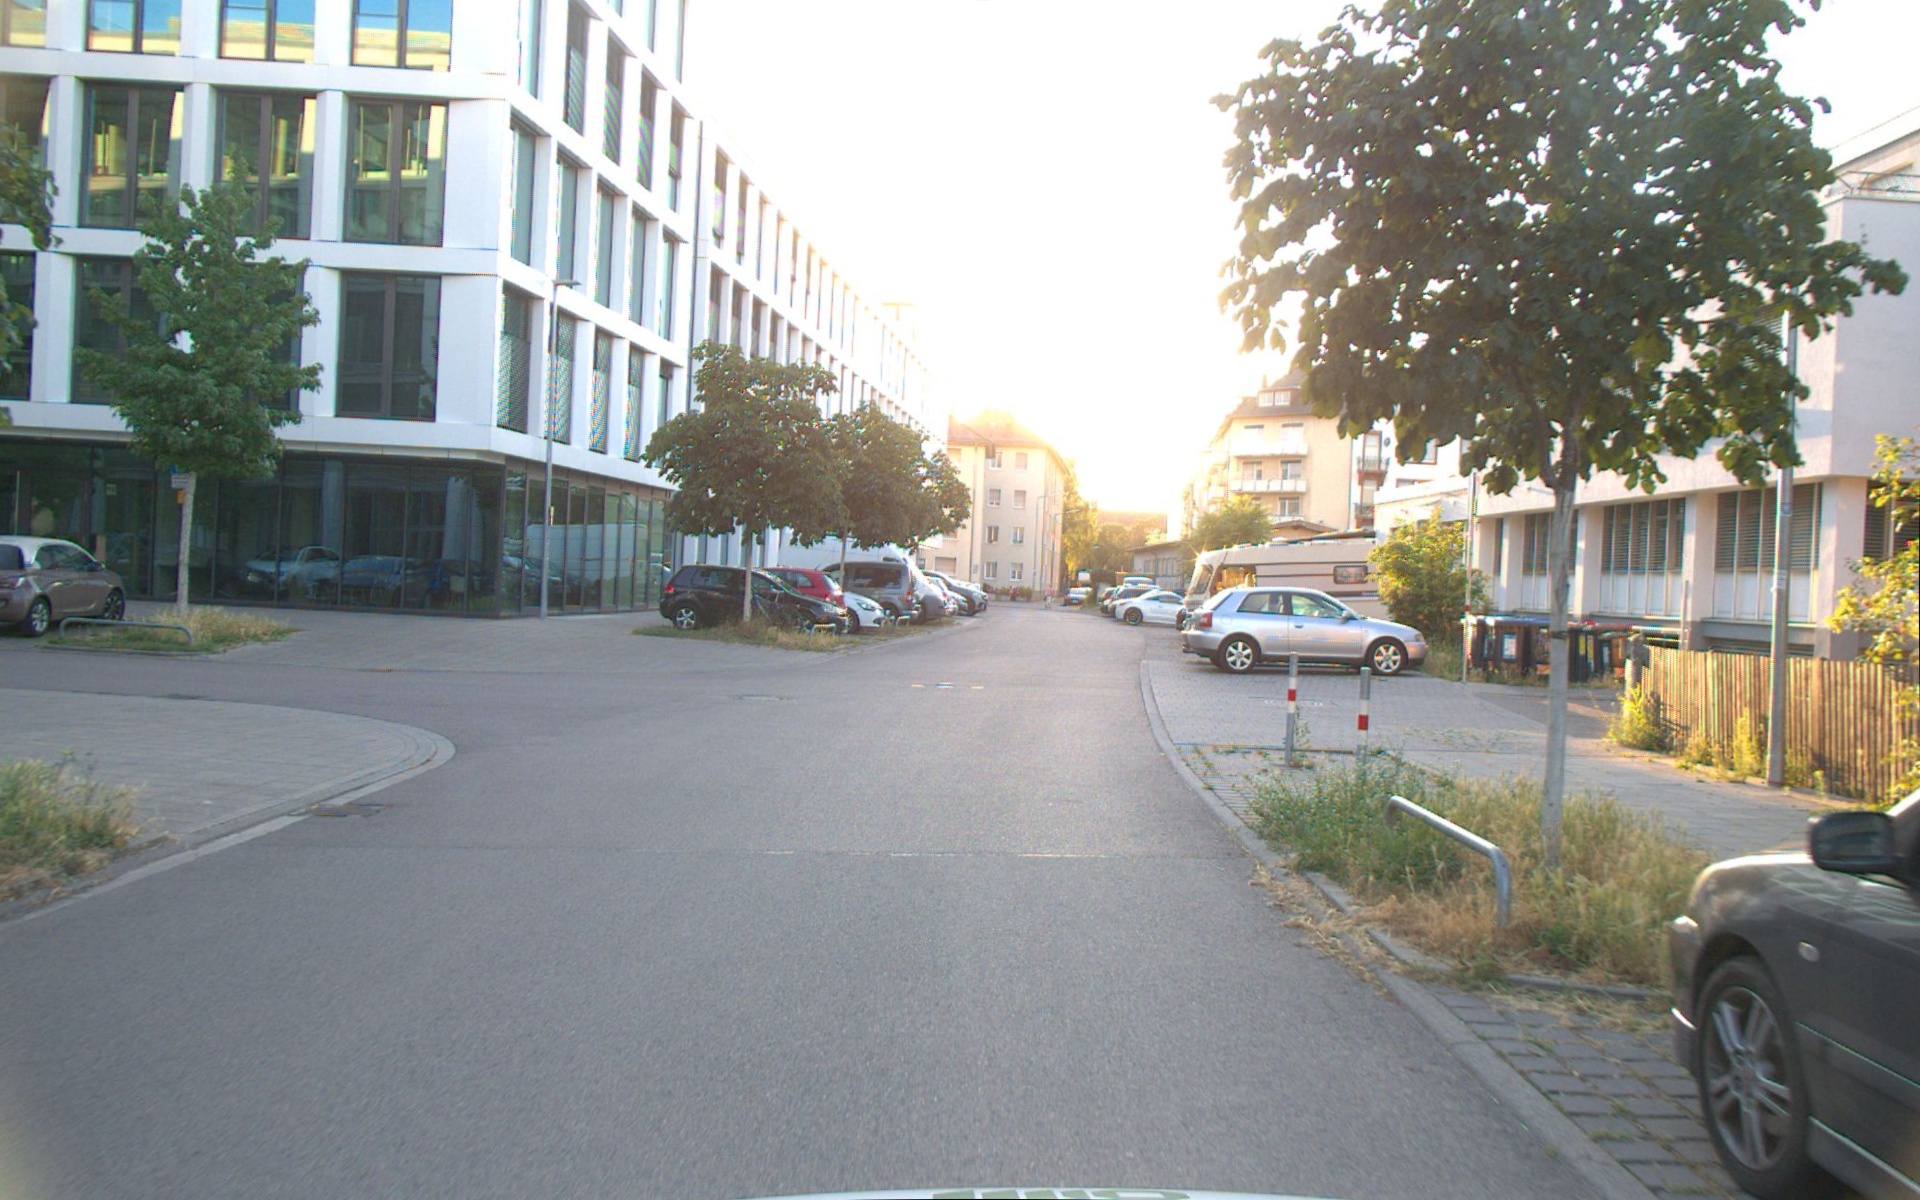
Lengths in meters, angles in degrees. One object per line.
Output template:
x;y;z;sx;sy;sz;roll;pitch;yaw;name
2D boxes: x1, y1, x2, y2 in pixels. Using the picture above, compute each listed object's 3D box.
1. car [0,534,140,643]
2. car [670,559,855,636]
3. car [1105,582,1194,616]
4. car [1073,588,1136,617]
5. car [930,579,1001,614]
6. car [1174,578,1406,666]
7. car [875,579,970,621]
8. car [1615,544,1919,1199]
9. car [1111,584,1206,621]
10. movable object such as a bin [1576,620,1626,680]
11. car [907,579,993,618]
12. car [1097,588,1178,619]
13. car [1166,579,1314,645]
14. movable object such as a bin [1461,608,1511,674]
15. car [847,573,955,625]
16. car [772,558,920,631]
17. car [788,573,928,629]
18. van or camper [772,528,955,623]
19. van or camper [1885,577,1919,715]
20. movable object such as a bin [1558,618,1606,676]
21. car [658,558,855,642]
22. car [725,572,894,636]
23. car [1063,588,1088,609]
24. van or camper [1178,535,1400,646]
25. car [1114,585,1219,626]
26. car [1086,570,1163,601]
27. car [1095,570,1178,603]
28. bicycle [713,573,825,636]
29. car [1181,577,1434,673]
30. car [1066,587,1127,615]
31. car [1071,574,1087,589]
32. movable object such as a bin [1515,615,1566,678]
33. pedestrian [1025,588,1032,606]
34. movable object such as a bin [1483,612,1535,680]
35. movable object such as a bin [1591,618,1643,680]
-14.896;-0.242;26.623;1.687;1.511;3.551;2;3;-2;car
-4.638;-0.070;39.092;3.965;1.504;1.769;4;1;5;car
8.869;-0.056;77.672;3.966;1.504;1.768;1;2;0;car
8.935;0.163;102.374;3.708;1.672;1.697;1;2;0;car
0.241;-0.158;72.094;2.951;1.446;1.459;1;2;5;car
6.108;0.390;30.925;3.966;1.504;1.768;1;2;0;car
-1.431;-0.024;63.622;3.484;1.504;1.459;1;2;5;car
2.790;0.721;2.800;1.688;1.607;4.600;2;1;3;car
8.687;0.092;72.632;3.966;1.504;1.768;1;2;0;car
11.047;0.853;28.527;0.566;0.975;0.689;2;1;0;movable object such as a bin
-0.411;-0.074;69.688;3.484;1.504;1.459;1;2;5;car
9.119;0.174;85.037;3.966;1.504;1.768;1;2;0;car
8.093;0.334;48.005;3.908;1.716;1.763;2;0;-4;car
8.717;0.675;27.414;0.566;1.028;0.689;2;1;0;movable object such as a bin
-1.996;-0.058;56.437;3.484;1.680;1.459;1;2;5;car
-3.163;-0.180;46.498;3.966;1.941;1.737;1;2;1;car
-2.984;0.012;48.948;3.966;1.550;1.737;1;2;1;car
-2.970;-0.769;51.524;5.338;2.526;1.777;4;1;5;van or camper
13.392;0.631;19.980;3.432;1.662;1.781;2;1;-5;van or camper
11.038;0.830;29.355;0.566;0.975;0.689;2;1;0;movable object such as a bin
-4.417;-0.021;36.268;3.966;1.504;1.768;4;2;2;car
-3.758;0.083;41.620;3.964;1.504;1.769;1;2;5;car
9.470;-0.171;135.753;1.909;1.612;3.642;2;1;3;car
8.777;-0.283;44.512;5.494;2.838;2.430;1;2;1;van or camper
8.027;0.201;64.542;3.964;1.504;1.769;1;2;5;car
9.520;-0.859;96.021;4.252;1.672;1.816;1;2;0;car
9.451;-0.749;88.739;4.252;1.672;1.816;1;2;0;car
-3.938;0.083;34.192;2.133;1.194;0.811;2;0;5;bicycle
5.899;0.405;28.422;3.966;1.504;1.768;1;2;0;car
8.908;0.062;108.241;3.825;1.672;1.710;1;2;0;car
12.940;-1.983;179.801;1.706;1.551;3.553;2;1;4;car
9.516;0.755;27.145;0.566;0.975;0.689;2;1;0;movable object such as a bin
5.567;-0.223;133.993;0.491;1.403;0.455;2;0;3;pedestrian
8.866;0.736;26.732;0.566;1.028;0.689;2;1;0;movable object such as a bin
11.047;0.822;27.820;0.566;0.975;0.689;2;1;0;movable object such as a bin
